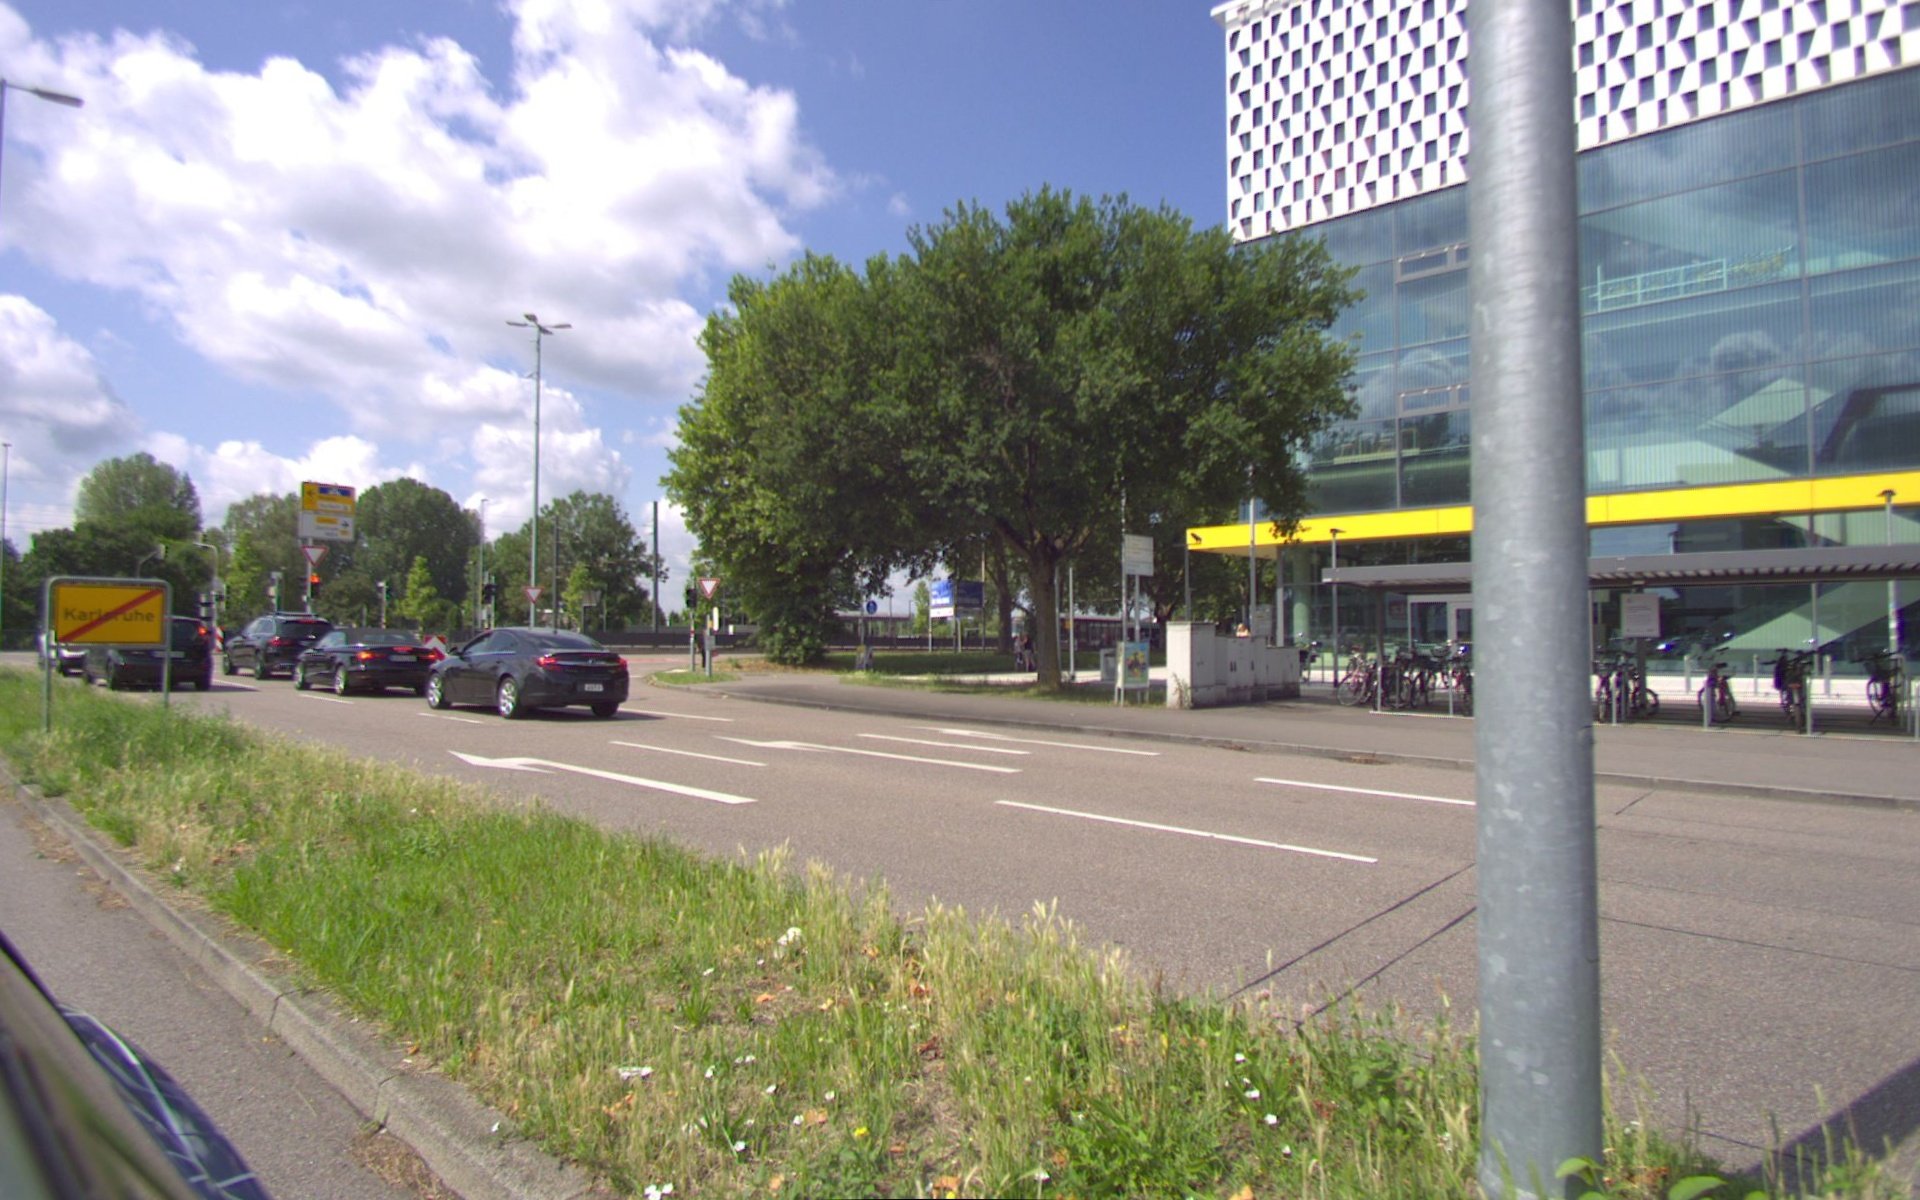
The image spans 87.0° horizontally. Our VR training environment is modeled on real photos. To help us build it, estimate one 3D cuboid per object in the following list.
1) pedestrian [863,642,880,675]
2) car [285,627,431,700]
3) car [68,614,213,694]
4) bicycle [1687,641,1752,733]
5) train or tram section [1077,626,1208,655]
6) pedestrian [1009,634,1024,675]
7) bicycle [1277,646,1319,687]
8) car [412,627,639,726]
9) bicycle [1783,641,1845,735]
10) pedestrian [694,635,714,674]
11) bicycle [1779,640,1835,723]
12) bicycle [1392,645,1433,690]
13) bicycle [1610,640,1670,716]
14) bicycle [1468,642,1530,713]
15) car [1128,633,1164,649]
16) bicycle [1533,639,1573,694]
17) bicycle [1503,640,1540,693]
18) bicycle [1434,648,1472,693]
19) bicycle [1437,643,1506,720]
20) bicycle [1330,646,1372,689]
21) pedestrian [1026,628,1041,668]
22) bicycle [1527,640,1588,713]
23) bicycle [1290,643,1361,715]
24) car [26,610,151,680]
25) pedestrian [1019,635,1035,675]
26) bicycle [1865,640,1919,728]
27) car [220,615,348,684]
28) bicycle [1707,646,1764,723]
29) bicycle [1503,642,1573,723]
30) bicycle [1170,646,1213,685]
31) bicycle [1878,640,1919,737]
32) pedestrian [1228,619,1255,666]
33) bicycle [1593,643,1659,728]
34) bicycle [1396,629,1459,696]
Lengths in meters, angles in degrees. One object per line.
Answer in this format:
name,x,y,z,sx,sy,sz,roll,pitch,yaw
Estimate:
pedestrian,-3.677,2.431,41.967,0.538,1.334,0.485,-1,-2,42
car,-12.790,1.311,21.406,4.094,1.402,1.396,-1,-5,42
car,-17.175,1.098,21.154,4.130,1.505,1.587,-1,-4,41
bicycle,11.564,1.279,15.387,0.629,1.282,1.905,-3,-3,41
train or tram section,23.031,5.160,124.788,4.526,3.055,24.794,-2,-4,39
pedestrian,2.416,2.333,43.356,0.449,1.716,0.399,-3,-3,35
bicycle,9.381,1.815,28.053,0.528,1.078,1.916,-1,-2,37
car,-7.358,1.214,16.923,4.516,1.432,1.646,-1,-4,41
bicycle,12.740,1.275,15.096,0.629,1.282,1.905,-3,-3,41
pedestrian,-9.865,2.095,39.020,0.616,1.502,0.435,-1,-2,25
bicycle,14.052,1.315,16.775,0.629,1.282,1.905,-3,-3,41
bicycle,11.773,1.740,26.309,0.519,1.098,1.911,-3,-3,37
bicycle,12.257,1.373,18.221,0.629,1.282,1.905,-3,-3,41
bicycle,10.479,1.468,19.654,0.629,1.282,1.905,-3,-3,41
car,17.571,3.882,95.589,1.702,1.453,3.810,-1,-2,39
bicycle,14.265,1.575,24.332,0.596,1.253,1.927,-1,-2,37
bicycle,13.731,1.604,24.719,0.528,1.219,1.916,-1,-2,37
bicycle,12.555,1.765,25.738,0.528,1.078,1.916,-1,-2,37
bicycle,9.170,1.420,18.099,0.629,1.282,1.905,-3,-3,41
bicycle,10.415,1.778,26.925,0.528,1.078,1.916,-1,-2,37
pedestrian,3.212,2.089,44.035,0.409,1.716,0.522,-2,-3,32
bicycle,11.308,1.417,19.126,0.629,1.282,1.905,-3,-3,41
bicycle,7.054,1.495,19.487,0.629,1.282,1.905,-3,-3,41
car,-22.165,1.107,25.688,4.375,1.632,1.690,0,-4,40
pedestrian,2.846,2.339,43.034,0.515,1.716,0.405,-3,-3,35
bicycle,14.713,1.284,15.918,0.629,1.282,1.905,-3,-3,41
car,-17.933,1.286,26.793,3.998,1.627,1.752,0,-4,41
bicycle,13.078,1.386,17.047,0.629,1.192,1.905,-3,-3,41
bicycle,9.986,1.387,17.438,0.629,1.282,2.067,-3,-3,41
bicycle,6.901,1.937,30.146,0.528,1.078,1.916,-1,-2,37
bicycle,13.502,1.218,14.342,0.629,1.282,1.905,-3,-3,41
pedestrian,10.400,1.566,37.376,0.709,1.719,0.887,-1,-2,36
bicycle,10.943,1.362,16.600,0.629,1.282,1.905,-3,-3,41
bicycle,9.468,1.234,20.473,0.629,1.282,1.905,-3,-3,41
